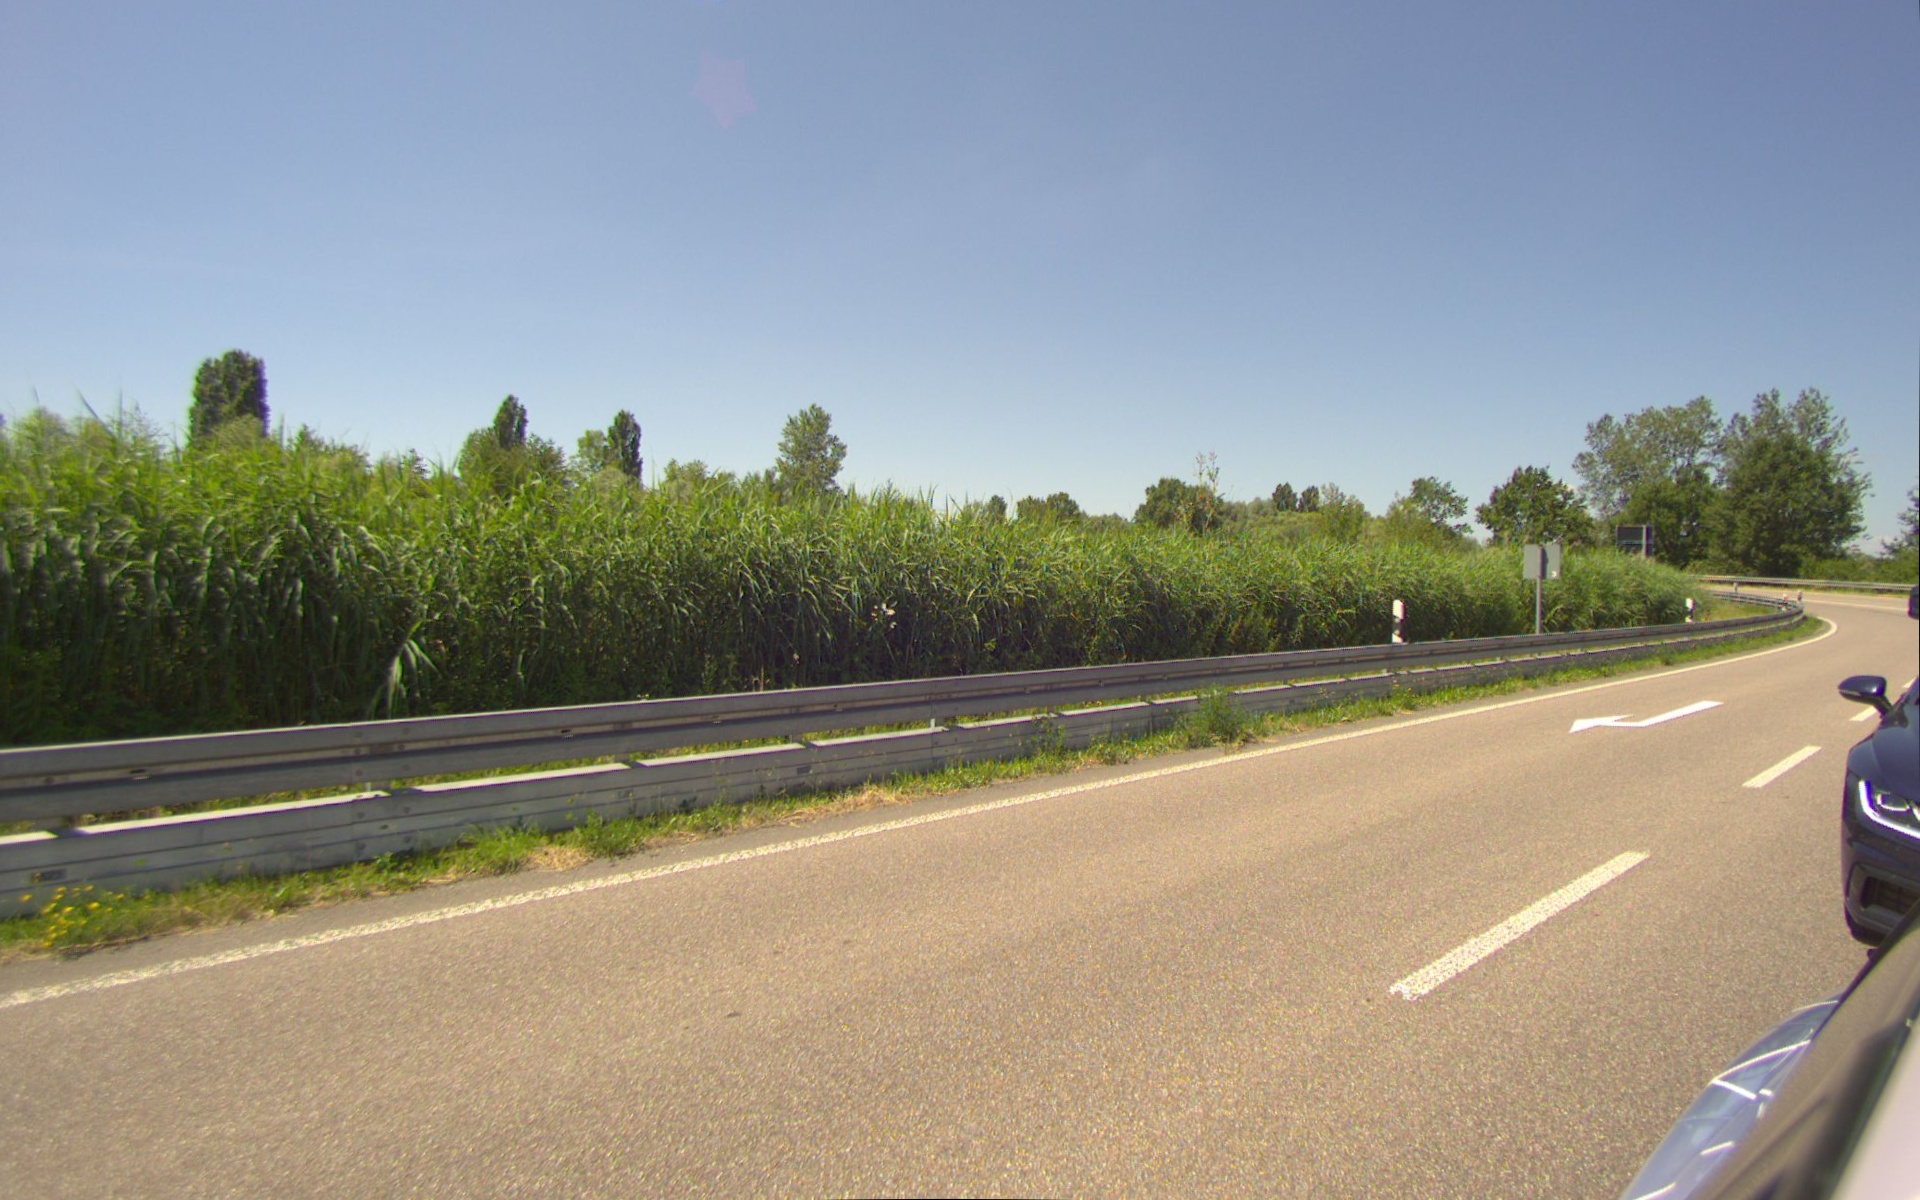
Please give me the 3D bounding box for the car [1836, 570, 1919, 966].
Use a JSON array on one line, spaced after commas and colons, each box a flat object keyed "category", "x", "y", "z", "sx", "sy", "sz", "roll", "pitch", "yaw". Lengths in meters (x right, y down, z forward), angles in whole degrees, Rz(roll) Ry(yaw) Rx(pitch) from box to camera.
[{"category": "car", "x": 5.655, "y": 0.614, "z": 4.693, "sx": 4.338, "sy": 1.481, "sz": 1.818, "roll": -1, "pitch": 1, "yaw": -41}]
